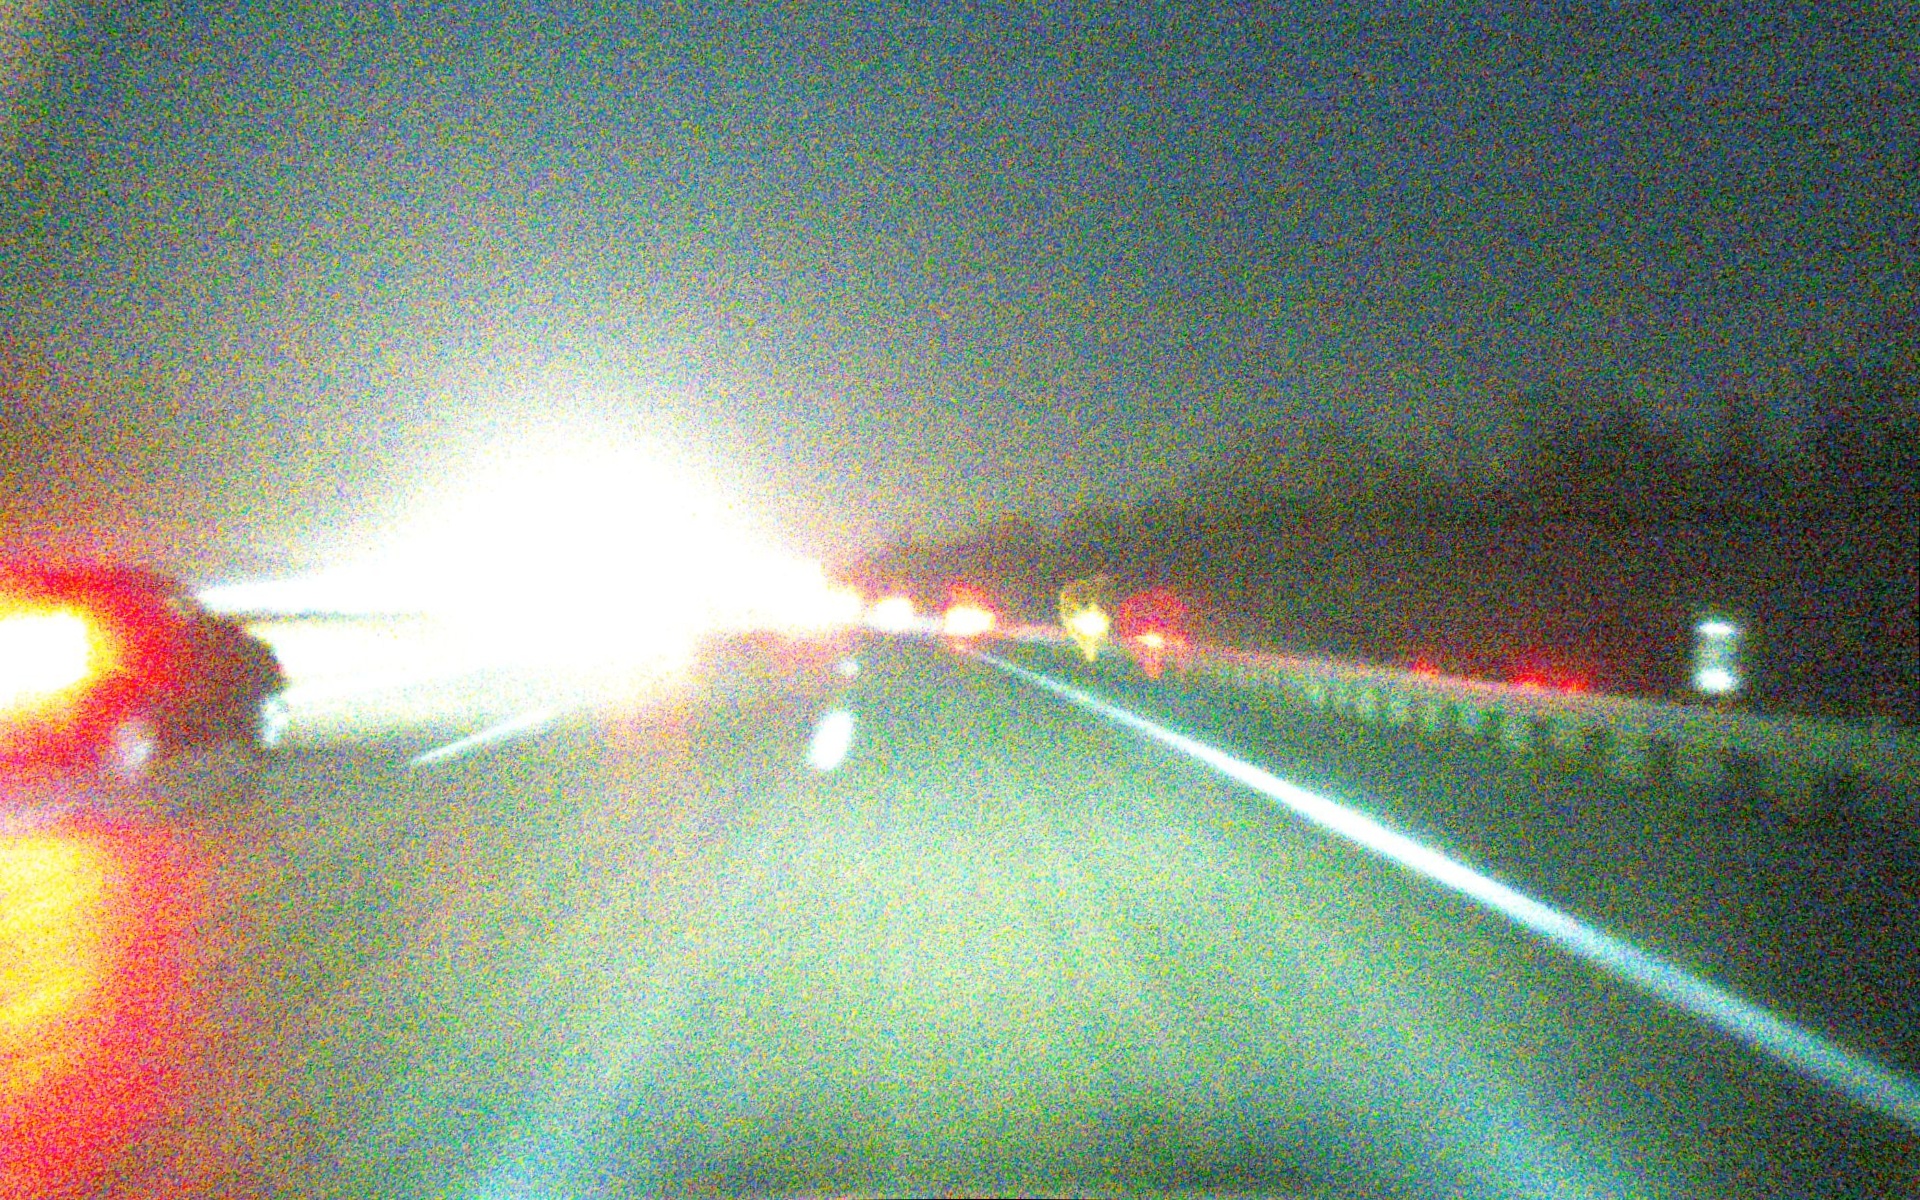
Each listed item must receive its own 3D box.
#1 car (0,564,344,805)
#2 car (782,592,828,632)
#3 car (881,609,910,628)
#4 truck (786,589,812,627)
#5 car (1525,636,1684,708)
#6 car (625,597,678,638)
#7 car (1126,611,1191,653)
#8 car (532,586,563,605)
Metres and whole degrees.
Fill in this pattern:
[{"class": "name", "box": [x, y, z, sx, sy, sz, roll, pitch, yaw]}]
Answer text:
[{"class": "car", "box": [-6.770, 0.562, 13.641, 1.822, 1.567, 4.746, 4, 0, -4]}, {"class": "car", "box": [-6.429, 0.495, 68.932, 1.767, 1.513, 3.996, 3, 0, -5]}, {"class": "car", "box": [-4.878, 1.409, 124.484, 1.553, 1.268, 3.059, 5, -2, -12]}, {"class": "truck", "box": [-13.934, 0.707, 142.823, 1.956, 3.096, 6.454, 1, -1, -7]}, {"class": "car", "box": [15.784, 1.730, 40.781, 1.954, 1.474, 4.332, 4, 0, -3]}, {"class": "car", "box": [-10.063, 0.604, 54.030, 1.632, 1.258, 3.751, 1, -1, -10]}, {"class": "car", "box": [8.246, 1.317, 69.102, 2.016, 1.545, 5.015, 3, 0, -1]}, {"class": "car", "box": [-29.746, -0.327, 119.297, 1.630, 1.258, 3.755, 1, -1, -7]}]
